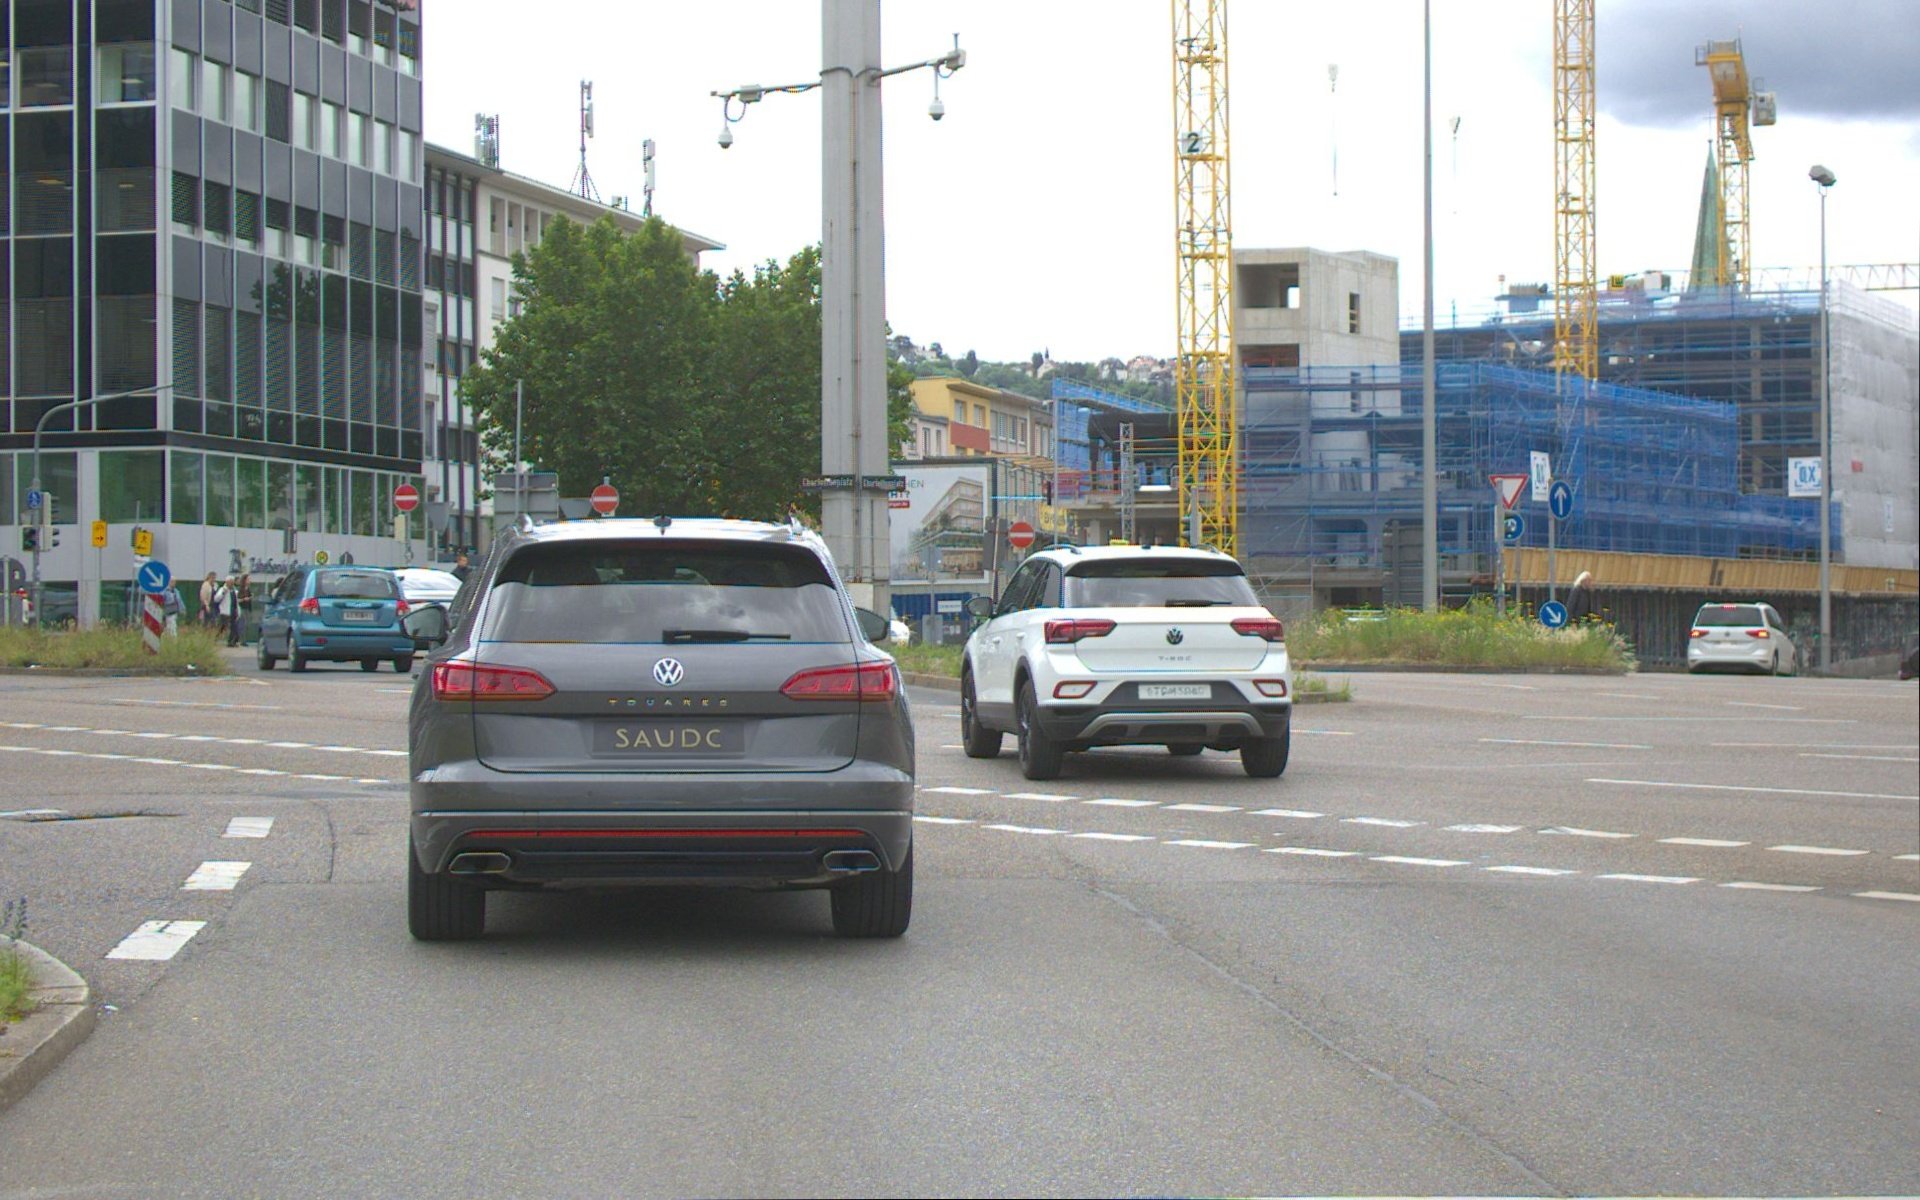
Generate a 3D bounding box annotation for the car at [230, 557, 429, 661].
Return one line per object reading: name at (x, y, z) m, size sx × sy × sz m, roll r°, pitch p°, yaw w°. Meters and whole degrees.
car at (-8.782, 0.095, 47.660) m, size 1.792 × 1.352 × 4.071 m, roll 0°, pitch 1°, yaw -24°

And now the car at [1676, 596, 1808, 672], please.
car at (16.434, 0.693, 72.104) m, size 1.805 × 1.497 × 3.975 m, roll 1°, pitch 0°, yaw 26°

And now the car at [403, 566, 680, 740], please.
car at (-3.650, 0.401, 29.409) m, size 1.792 × 1.352 × 4.071 m, roll 0°, pitch 1°, yaw -15°

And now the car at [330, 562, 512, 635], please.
car at (-9.004, -0.045, 57.166) m, size 1.670 × 1.135 × 4.071 m, roll 0°, pitch 1°, yaw -29°

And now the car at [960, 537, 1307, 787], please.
car at (1.121, 0.367, 24.045) m, size 1.893 × 1.580 × 3.802 m, roll 0°, pitch 1°, yaw -5°

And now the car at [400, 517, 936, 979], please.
car at (-1.370, 0.488, 14.456) m, size 1.932 × 1.641 × 4.001 m, roll 0°, pitch 2°, yaw -9°

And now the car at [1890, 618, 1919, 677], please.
car at (26.753, 1.308, 94.730) m, size 1.805 × 1.497 × 3.977 m, roll 1°, pitch 1°, yaw 20°

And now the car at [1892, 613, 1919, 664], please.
car at (30.139, 1.192, 107.013) m, size 1.805 × 1.497 × 3.977 m, roll 1°, pitch 1°, yaw 20°

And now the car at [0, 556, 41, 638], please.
car at (-19.118, -0.093, 65.211) m, size 1.815 × 1.491 × 3.905 m, roll -1°, pitch 2°, yaw -39°
